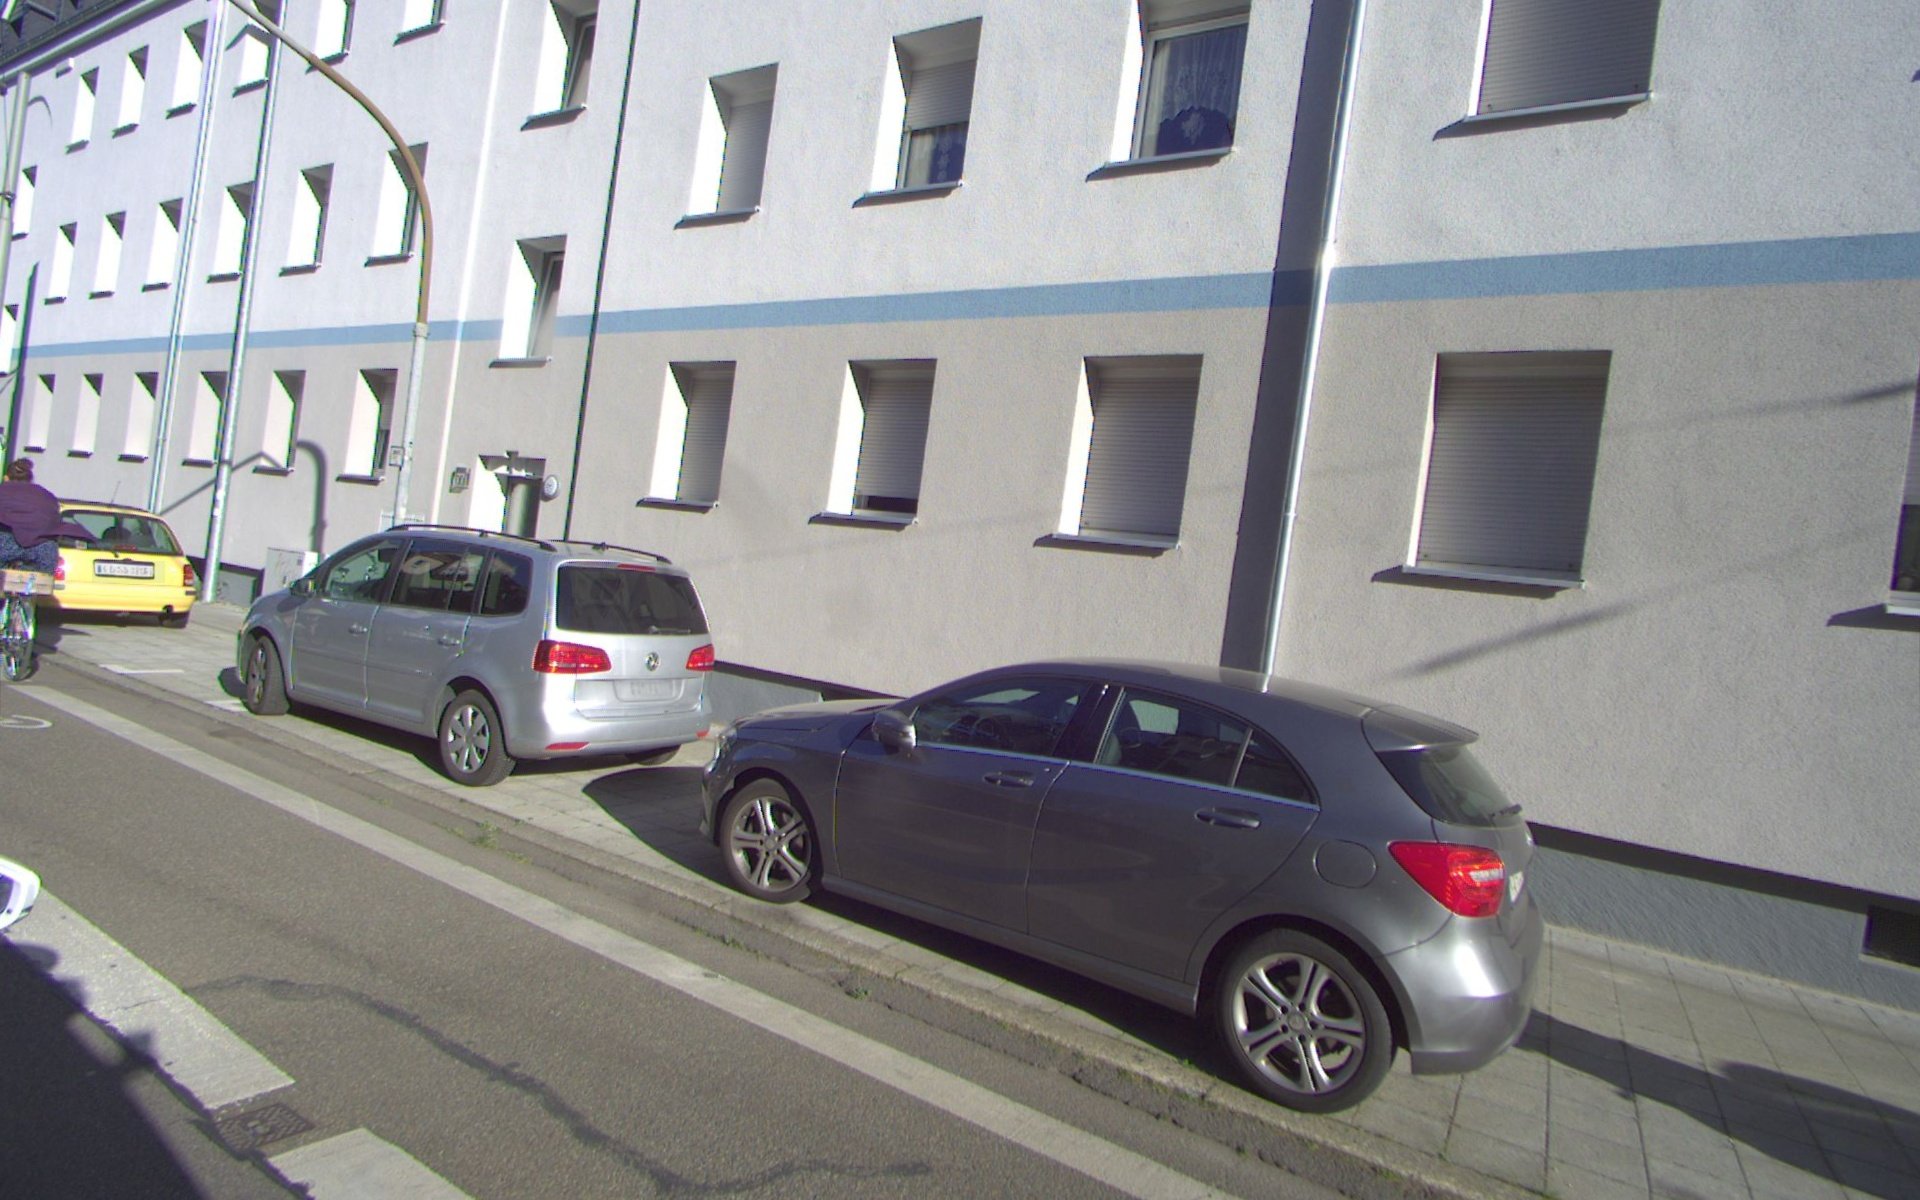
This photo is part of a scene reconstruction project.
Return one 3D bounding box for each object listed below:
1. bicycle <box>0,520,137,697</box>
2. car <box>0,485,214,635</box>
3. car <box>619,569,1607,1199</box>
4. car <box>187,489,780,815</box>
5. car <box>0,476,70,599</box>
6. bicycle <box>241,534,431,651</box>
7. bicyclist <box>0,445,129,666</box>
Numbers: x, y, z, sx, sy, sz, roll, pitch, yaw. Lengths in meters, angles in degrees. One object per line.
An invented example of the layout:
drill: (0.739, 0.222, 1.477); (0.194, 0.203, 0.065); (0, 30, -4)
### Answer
bicycle: (-8.028, -0.013, 8.457); (2.421, 1.250, 0.823); (8, -2, 31)
car: (-11.078, -0.579, 12.386); (4.131, 1.449, 1.515); (8, 1, 31)
car: (0.547, 0.914, 4.980); (4.295, 1.574, 1.865); (8, 1, 33)
car: (-3.832, 0.242, 7.871); (4.546, 1.687, 1.757); (8, 1, 29)
car: (-14.758, -1.096, 14.451); (4.434, 1.591, 1.681); (8, 1, 32)
bicycle: (-8.264, -0.102, 13.304); (2.288, 1.212, 1.098); (8, 0, 30)
bicyclist: (-7.766, -0.377, 8.337); (0.953, 1.696, 0.936); (8, 0, 31)
